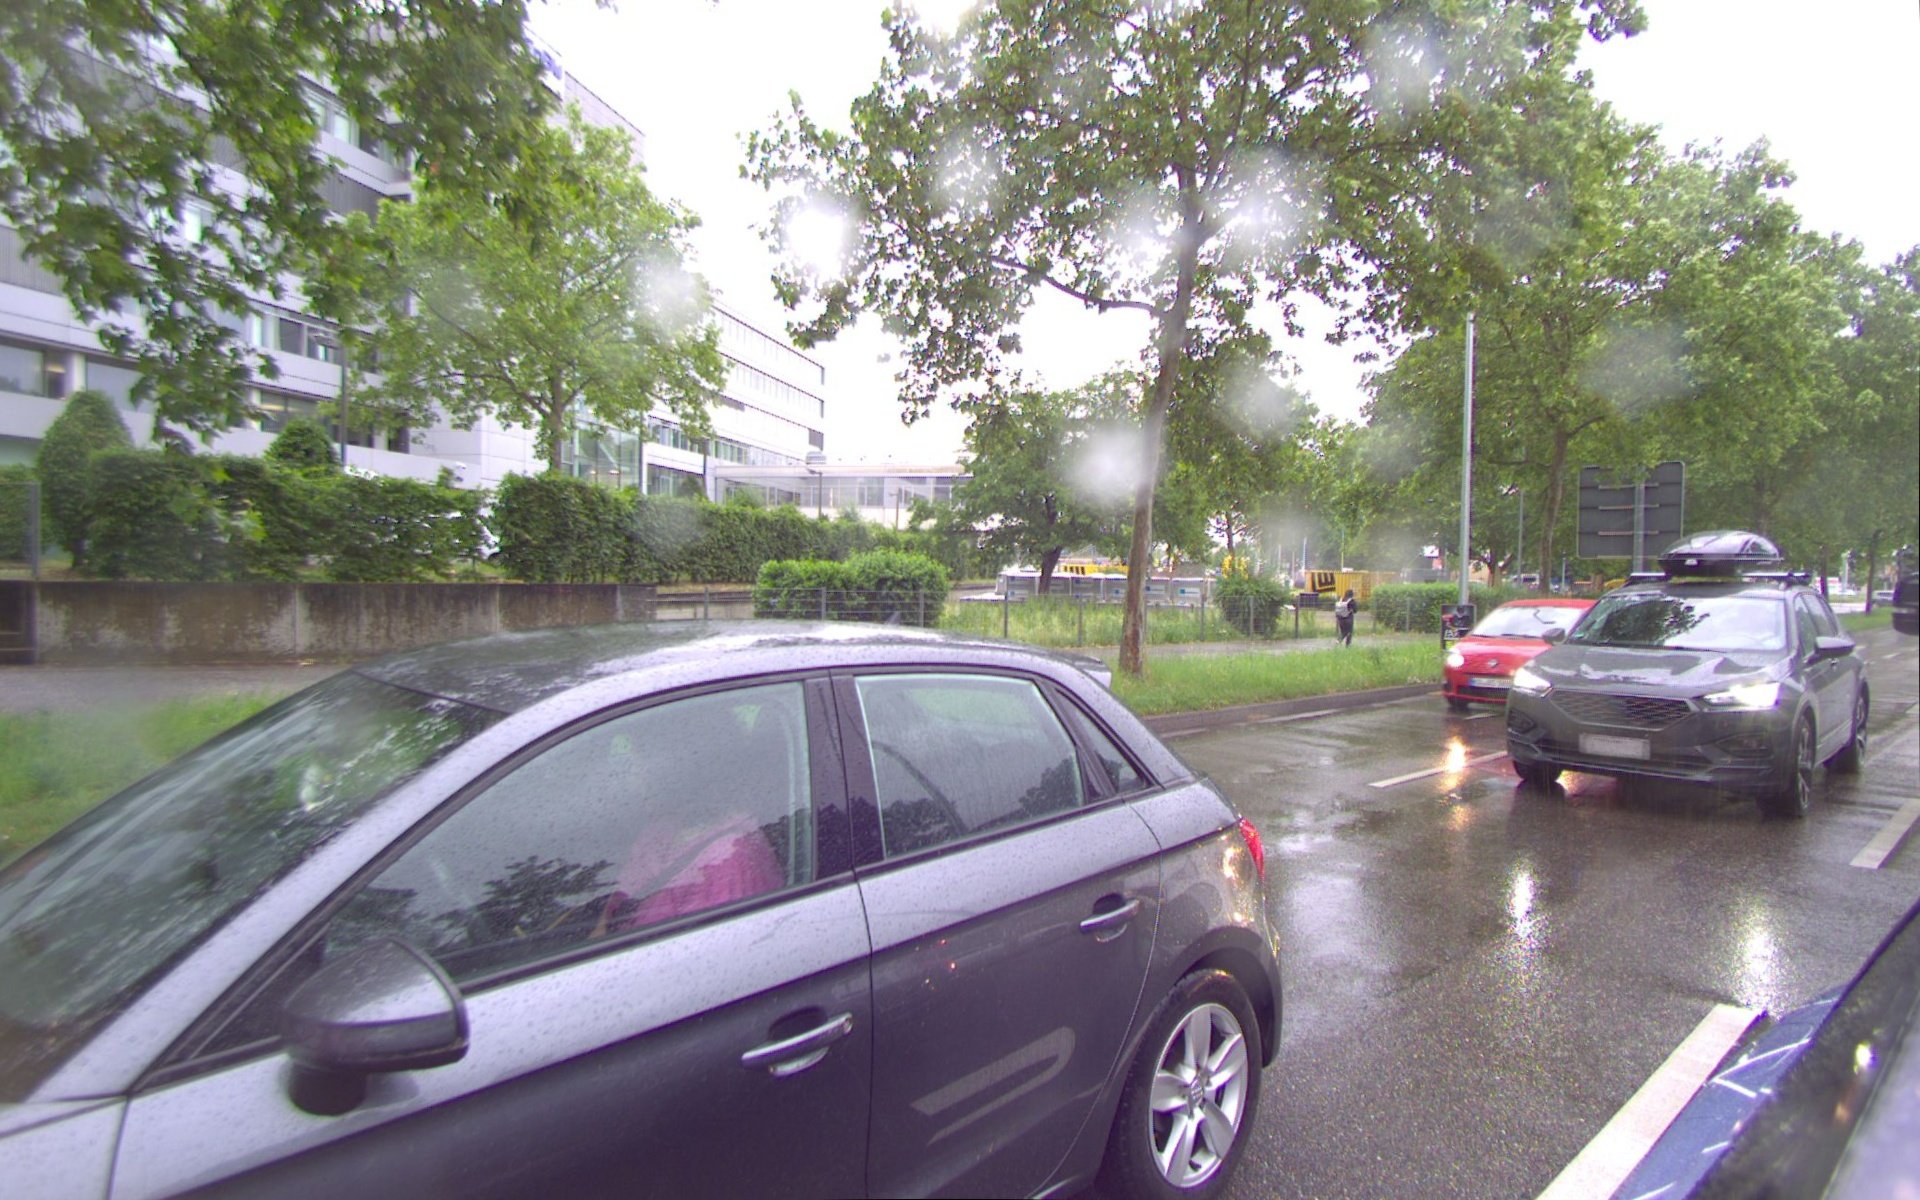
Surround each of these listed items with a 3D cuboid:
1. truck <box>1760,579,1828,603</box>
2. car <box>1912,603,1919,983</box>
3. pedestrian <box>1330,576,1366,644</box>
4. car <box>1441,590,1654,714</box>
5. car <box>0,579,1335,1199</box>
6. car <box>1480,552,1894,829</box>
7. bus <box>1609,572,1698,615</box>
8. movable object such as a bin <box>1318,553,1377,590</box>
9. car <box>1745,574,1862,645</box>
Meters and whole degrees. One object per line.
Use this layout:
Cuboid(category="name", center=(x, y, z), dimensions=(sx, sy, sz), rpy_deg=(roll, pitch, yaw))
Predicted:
Cuboid(category="truck", center=(85.205, -0.907, 103.455), dimensions=(4.988, 2.406, 1.785), rpy_deg=(0, 0, 19))
Cuboid(category="car", center=(6.326, 0.182, 4.952), dimensions=(5.599, 2.544, 2.024), rpy_deg=(0, 1, -43))
Cuboid(category="pedestrian", center=(10.127, 0.248, 26.389), dimensions=(0.645, 1.738, 0.645), rpy_deg=(0, 0, -40))
Cuboid(category="car", center=(8.067, 0.615, 13.808), dimensions=(3.331, 1.481, 1.571), rpy_deg=(0, 0, -42))
Cuboid(category="car", center=(-0.955, 0.689, 2.094), dimensions=(3.715, 1.446, 1.679), rpy_deg=(0, 1, -41))
Cuboid(category="car", center=(6.213, 0.538, 8.441), dimensions=(4.347, 1.719, 1.892), rpy_deg=(0, 1, -42))
Cuboid(category="bus", center=(43.734, -0.411, 63.909), dimensions=(1.681, 2.600, 4.366), rpy_deg=(0, 0, -41))
Cuboid(category="movable object such as a bin", center=(36.651, -2.671, 95.800), dimensions=(4.861, 3.478, 1.912), rpy_deg=(0, 0, 12))
Cuboid(category="car", center=(22.021, 0.260, 26.368), dimensions=(4.074, 1.707, 1.677), rpy_deg=(1, -1, -41))
